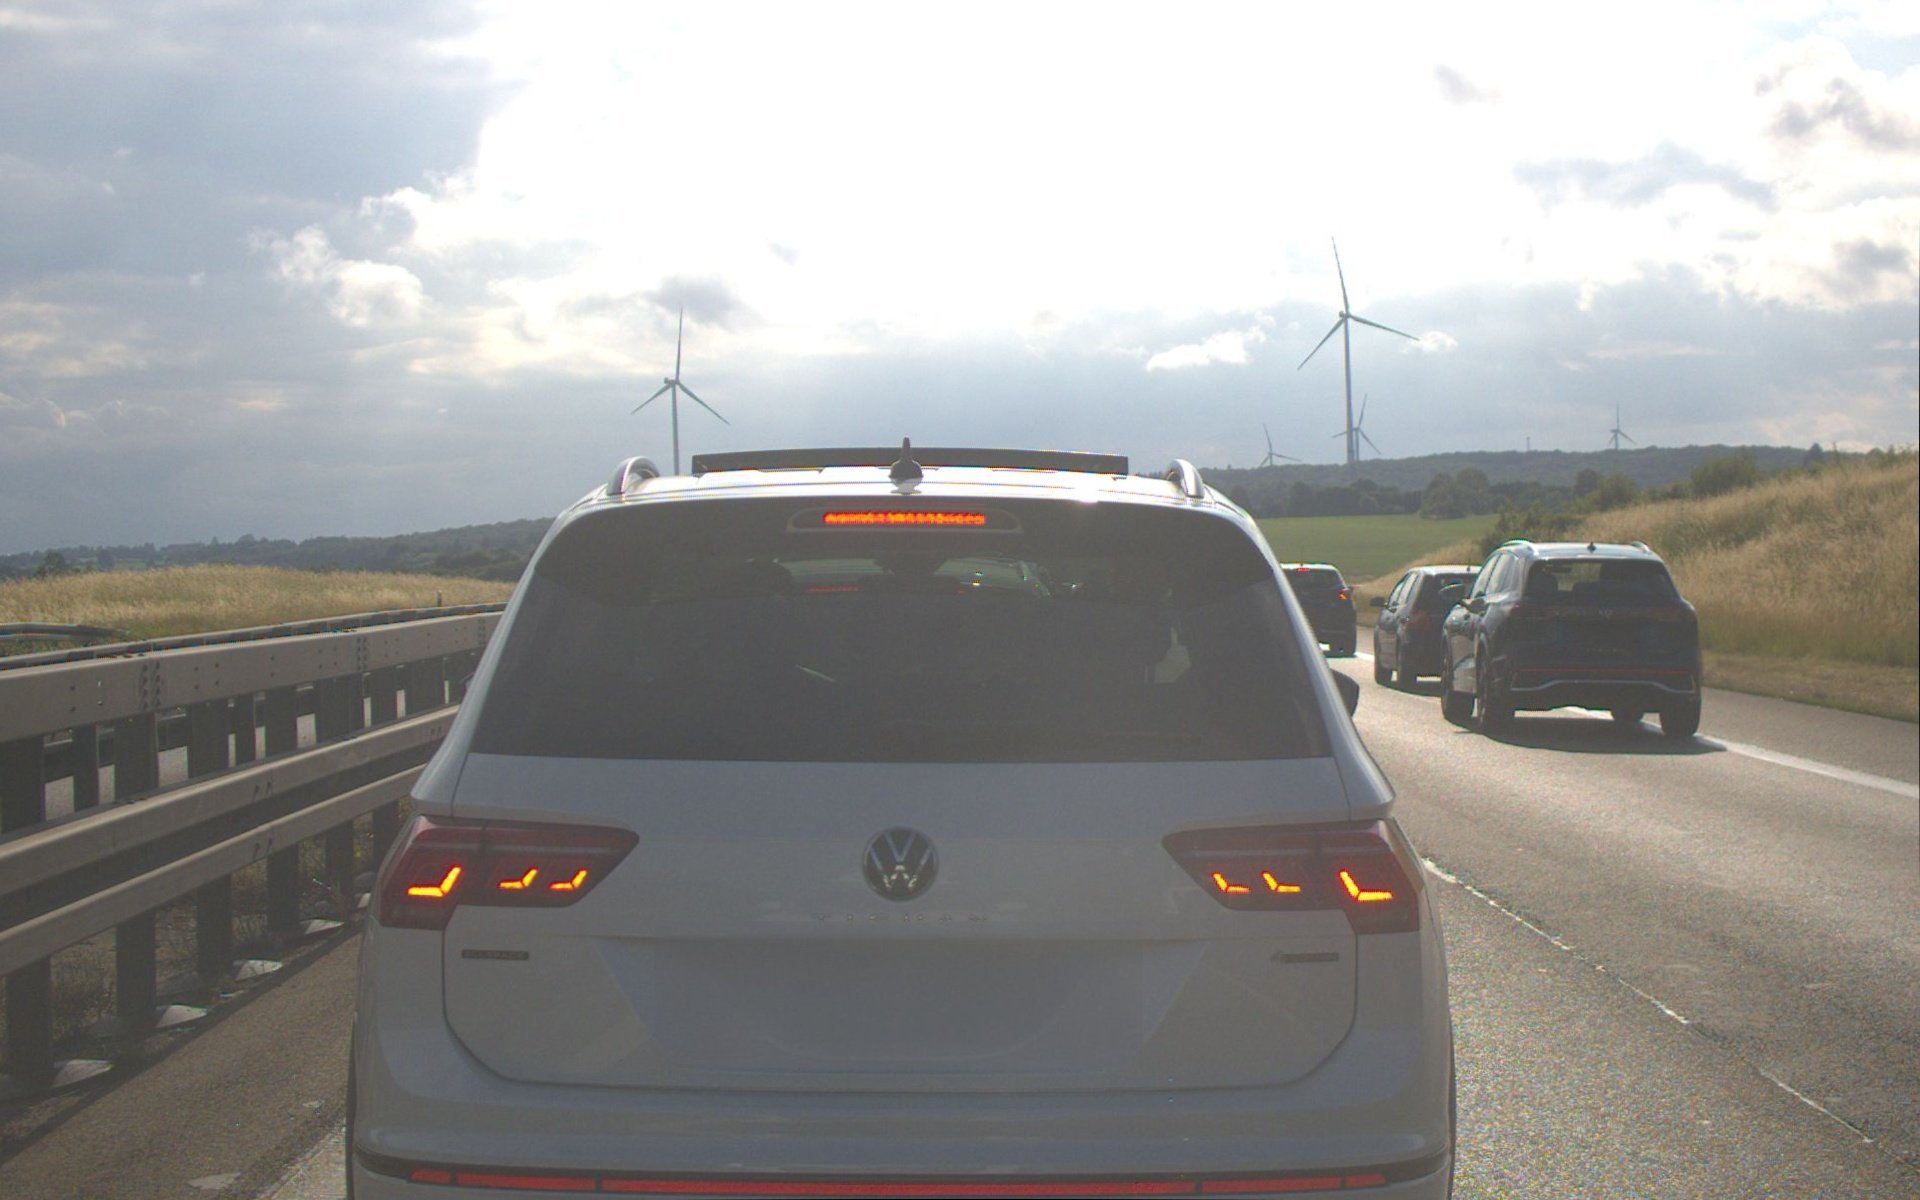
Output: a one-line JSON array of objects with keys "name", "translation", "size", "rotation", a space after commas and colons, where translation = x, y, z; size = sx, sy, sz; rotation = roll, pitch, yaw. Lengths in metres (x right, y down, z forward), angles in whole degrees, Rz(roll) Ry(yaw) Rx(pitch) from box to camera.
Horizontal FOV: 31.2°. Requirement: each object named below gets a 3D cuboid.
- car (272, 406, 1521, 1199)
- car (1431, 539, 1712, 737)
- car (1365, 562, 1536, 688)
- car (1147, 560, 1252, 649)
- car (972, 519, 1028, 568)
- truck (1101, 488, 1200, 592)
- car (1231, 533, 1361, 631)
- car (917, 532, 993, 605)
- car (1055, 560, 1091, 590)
[{"name": "car", "translation": [-0.109, 0.543, 6.875], "size": [1.770, 1.670, 4.000], "rotation": [0, 0, -1]}, {"name": "car", "translation": [5.346, 0.297, 30.555], "size": [1.821, 1.596, 4.235], "rotation": [1, 0, 2]}, {"name": "car", "translation": [5.739, 0.262, 40.537], "size": [1.606, 1.415, 3.672], "rotation": [0, 0, 2]}, {"name": "car", "translation": [4.557, 0.068, 65.914], "size": [1.704, 1.644, 4.000], "rotation": [0, 0, -1]}, {"name": "car", "translation": [1.264, -1.803, 110.040], "size": [1.704, 1.540, 4.000], "rotation": [0, 0, -1]}, {"name": "truck", "translation": [6.794, -2.185, 124.025], "size": [3.184, 3.581, 11.130], "rotation": [0, 1, 1]}, {"name": "car", "translation": [5.486, -0.302, 56.442], "size": [1.704, 1.540, 4.000], "rotation": [0, 0, -1]}, {"name": "car", "translation": [-0.140, -0.717, 78.874], "size": [1.704, 1.644, 4.000], "rotation": [0, 0, -1]}, {"name": "car", "translation": [5.850, -1.292, 178.723], "size": [1.704, 1.540, 4.000], "rotation": [0, 0, -1]}]
